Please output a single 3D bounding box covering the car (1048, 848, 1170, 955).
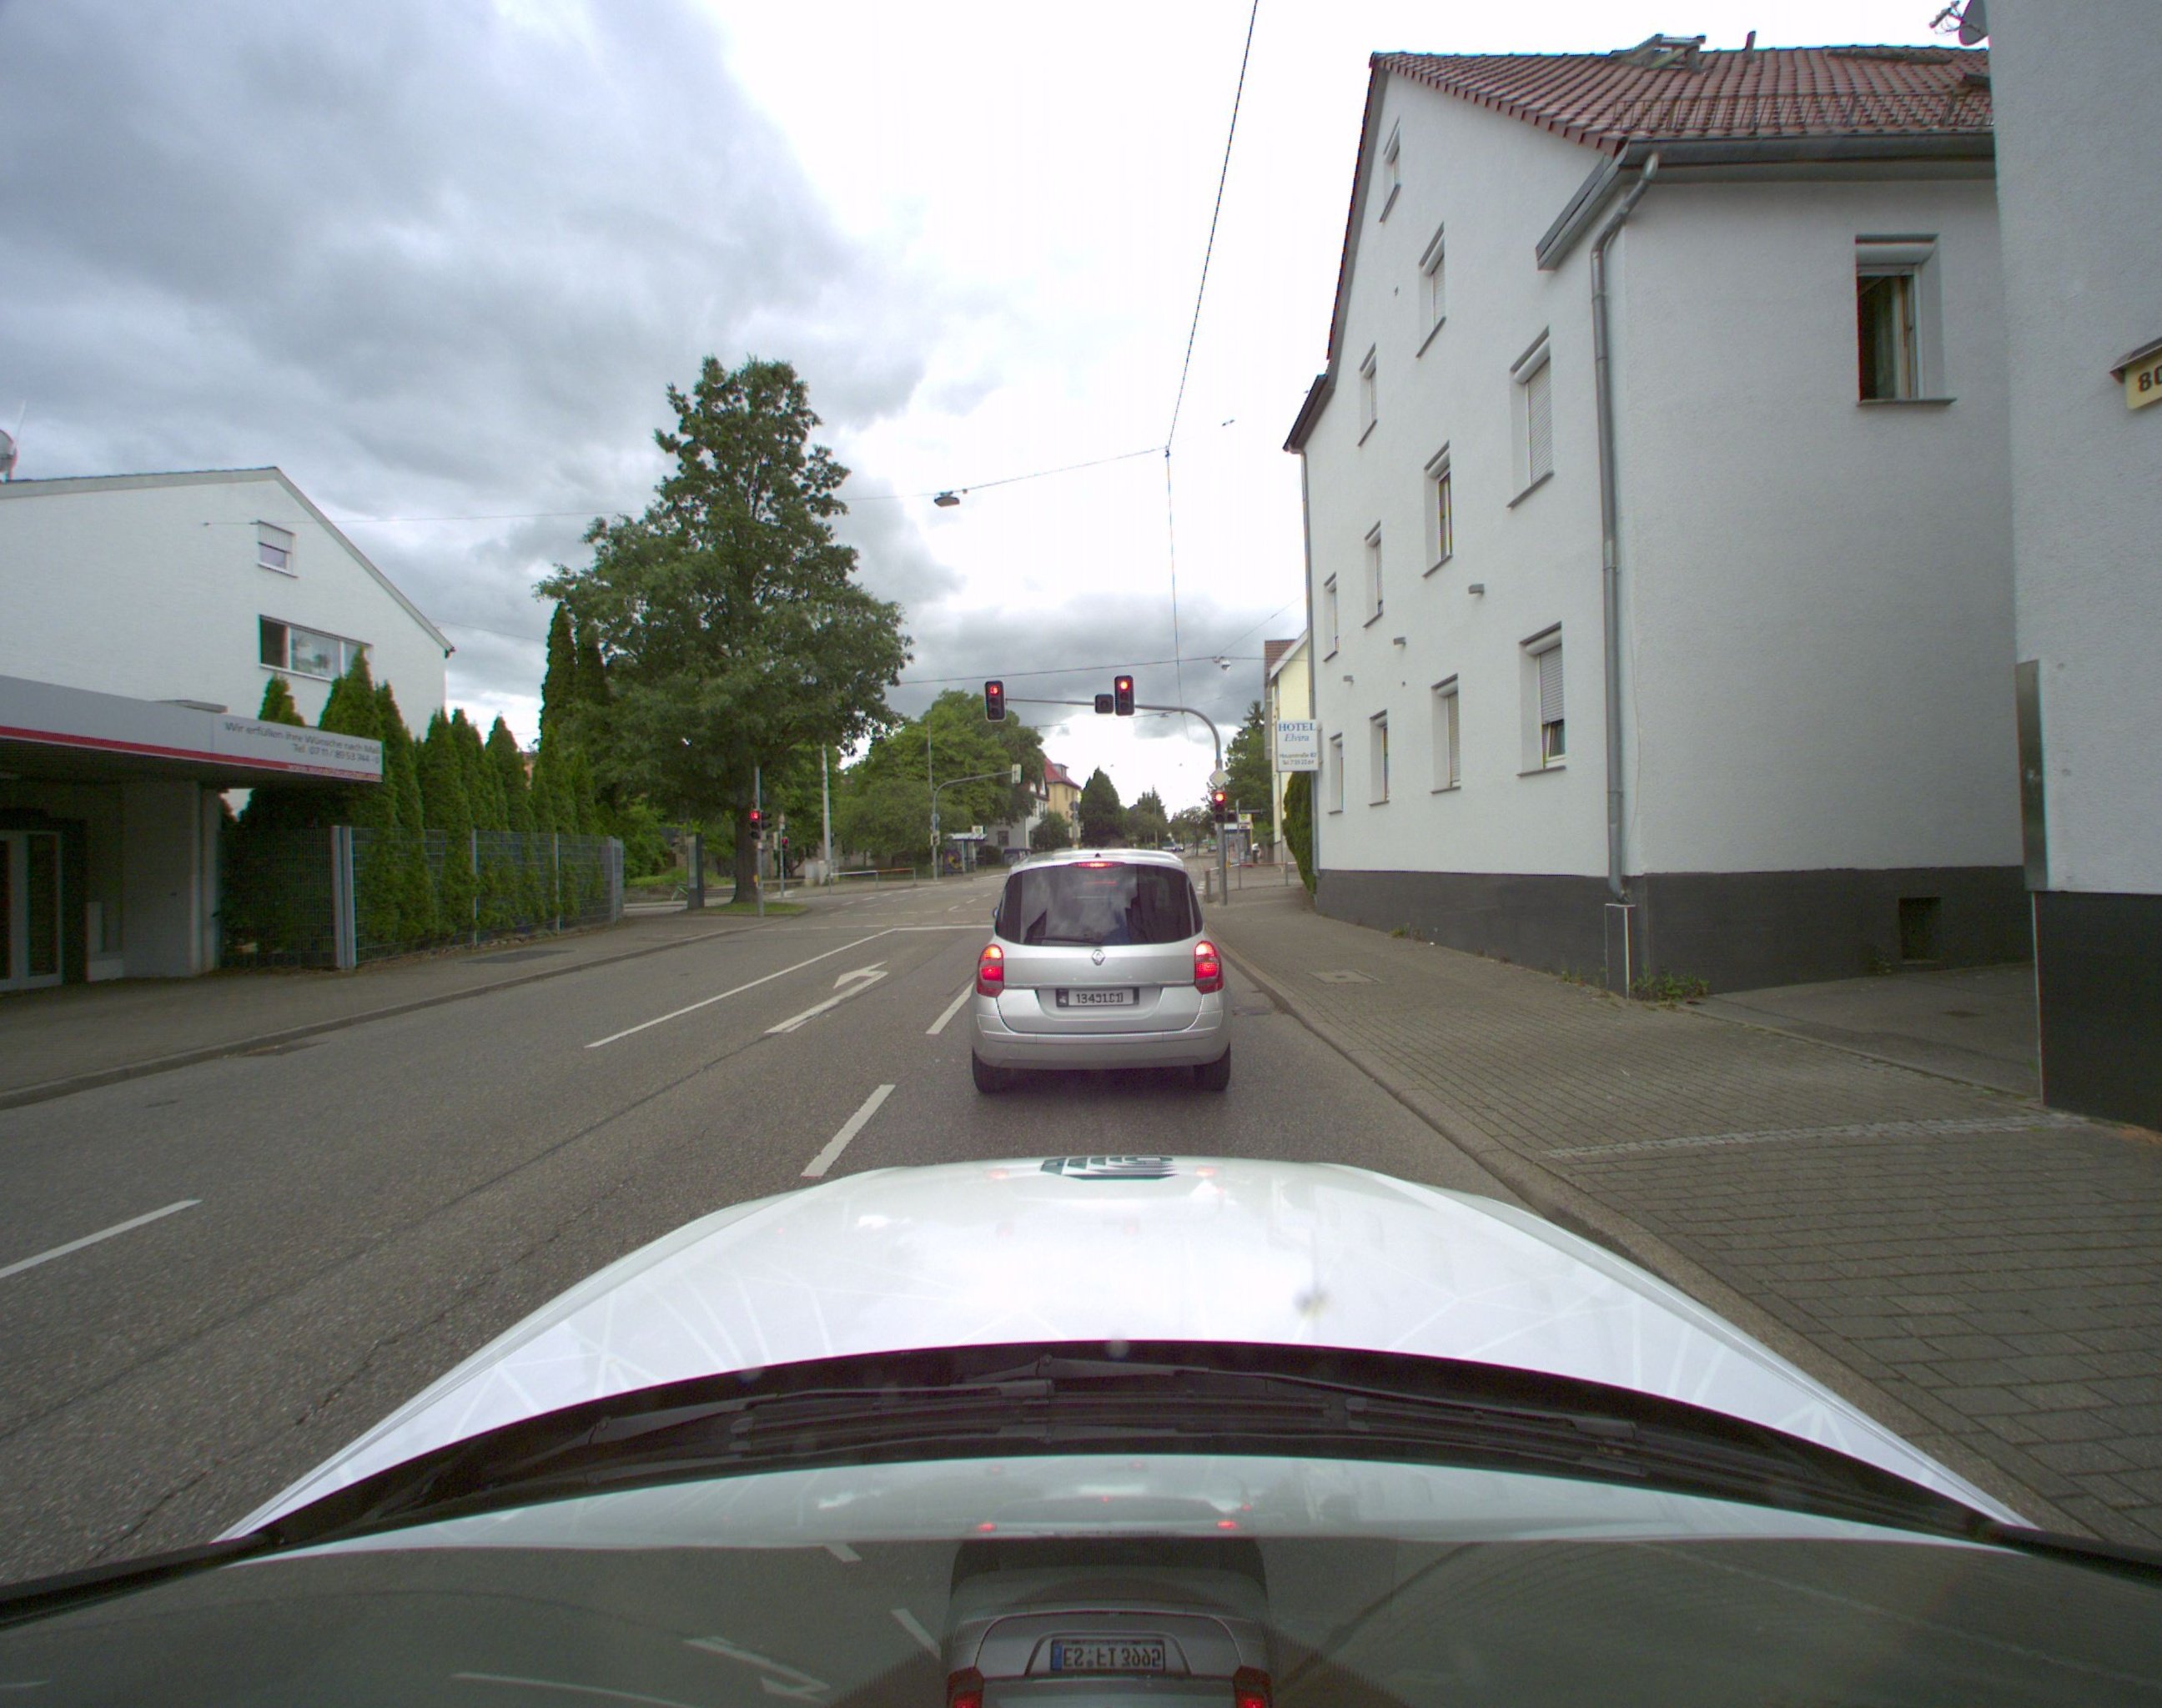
[{"bbox_3d":[0.458,0.697,13.753,1.748,1.530,3.798,-1,0,1],"label":"car"}]

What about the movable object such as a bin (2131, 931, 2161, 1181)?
[{"bbox_3d":[4.330,0.753,2.879,0.538,0.941,0.487,-4,-1,2],"label":"movable object such as a bin"}]

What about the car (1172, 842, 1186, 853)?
[{"bbox_3d":[16.259,-1.005,135.288,1.844,1.748,4.015,-1,0,13],"label":"car"}]

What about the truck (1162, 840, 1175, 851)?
[{"bbox_3d":[17.882,-1.738,166.373,2.088,2.013,5.766,-1,0,11],"label":"truck"}]

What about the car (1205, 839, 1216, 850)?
[{"bbox_3d":[31.411,-2.286,197.156,2.044,2.512,5.616,-1,0,14],"label":"car"}]

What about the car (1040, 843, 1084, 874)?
[{"bbox_3d":[-1.225,0.269,54.393,1.913,1.773,4.013,-6,-1,12],"label":"car"}]

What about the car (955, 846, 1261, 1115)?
[{"bbox_3d":[0.206,0.737,6.707,1.748,1.530,4.001,-1,0,1],"label":"car"}]
